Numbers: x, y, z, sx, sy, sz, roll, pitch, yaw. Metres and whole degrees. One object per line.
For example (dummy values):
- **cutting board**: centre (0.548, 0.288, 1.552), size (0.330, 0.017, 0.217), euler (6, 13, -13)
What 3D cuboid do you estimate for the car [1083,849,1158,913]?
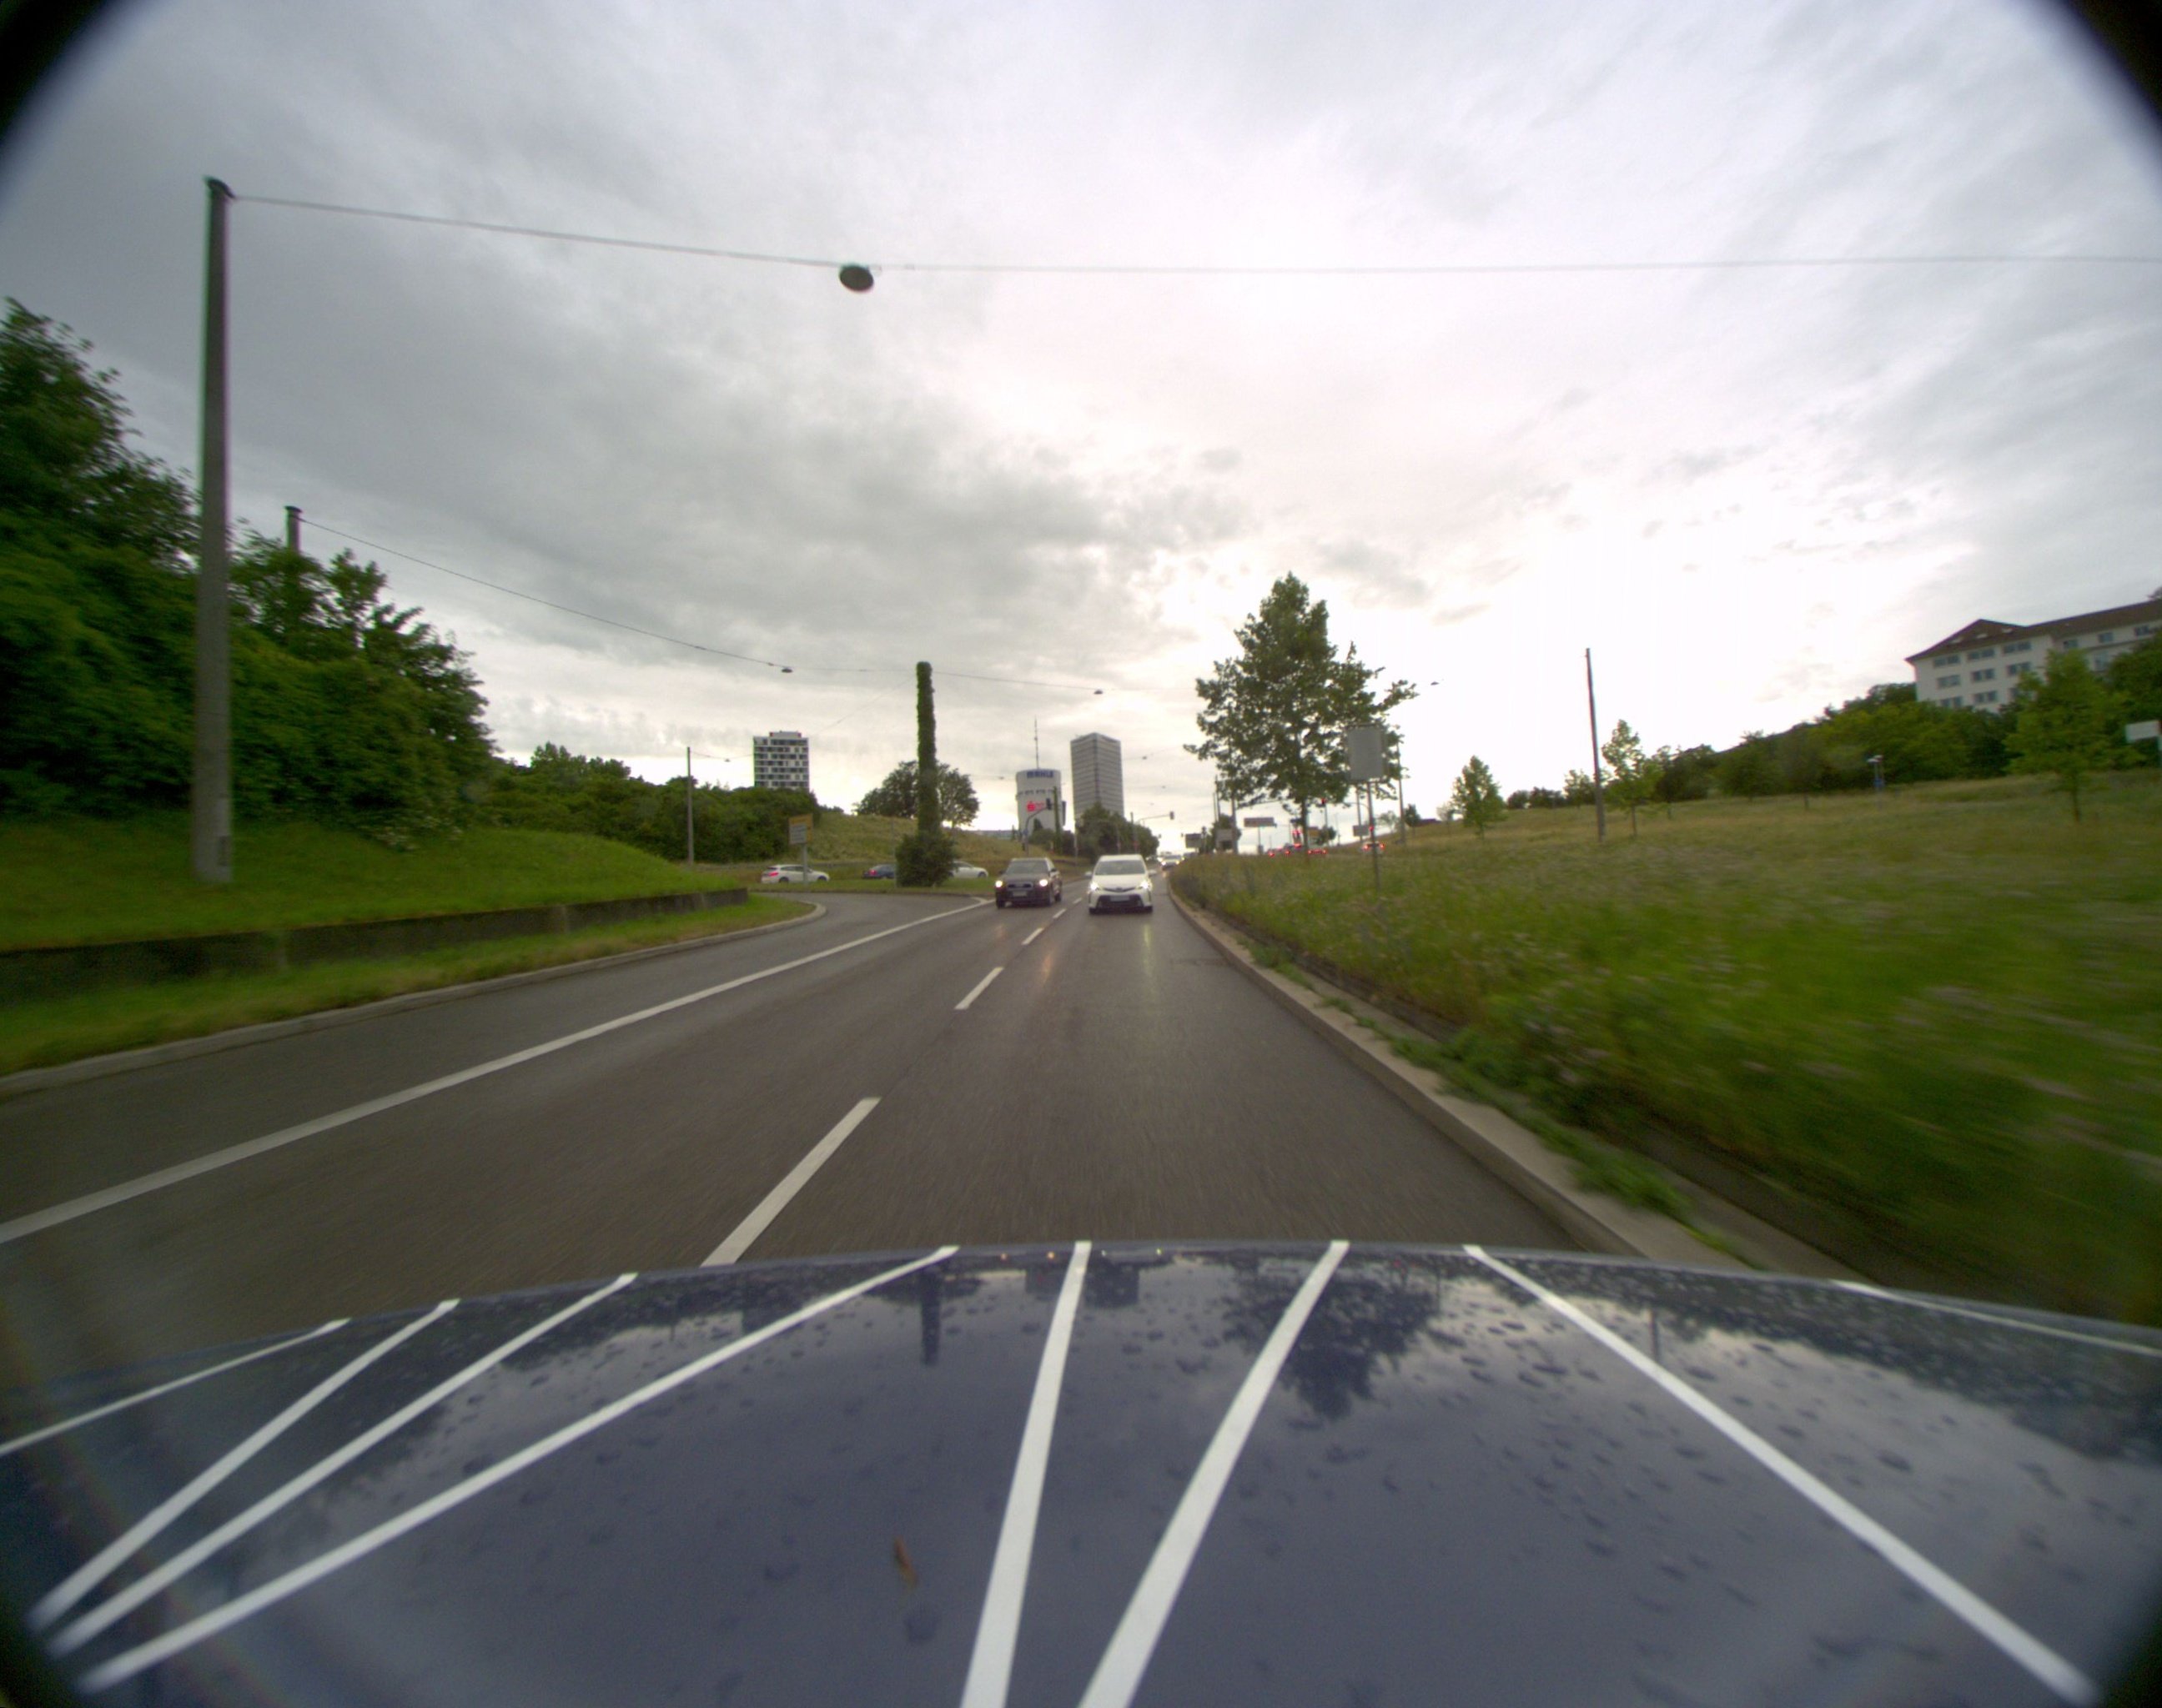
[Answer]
- **car**: centre (1.156, 0.698, 22.027), size (1.924, 1.604, 4.376), euler (-2, 0, 3)

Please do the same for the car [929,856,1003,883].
- **car**: centre (-8.364, 1.103, 55.435), size (4.999, 1.636, 2.070), euler (-3, 0, -44)

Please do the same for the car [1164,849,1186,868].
- **car**: centre (8.887, 0.446, 71.882), size (1.997, 1.761, 4.003), euler (0, -1, 8)

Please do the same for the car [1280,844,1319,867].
- **car**: centre (16.494, 0.096, 57.605), size (1.998, 1.503, 4.439), euler (-4, 0, 6)

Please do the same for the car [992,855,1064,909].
- **car**: centre (-1.715, 0.890, 25.974), size (1.927, 1.591, 4.280), euler (-2, 0, 2)

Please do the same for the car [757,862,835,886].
- **car**: centre (-18.576, 1.283, 49.673), size (2.070, 1.419, 4.281), euler (-3, -2, 40)

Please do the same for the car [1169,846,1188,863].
- **car**: centre (10.908, 0.044, 84.542), size (1.997, 1.761, 4.002), euler (-1, 0, 9)

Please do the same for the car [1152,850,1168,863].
- **car**: centre (10.643, 0.335, 101.982), size (1.781, 1.591, 4.123), euler (-3, 0, 11)

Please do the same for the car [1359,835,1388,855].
- **car**: centre (27.531, -0.852, 71.646), size (1.996, 1.634, 4.803), euler (-4, 0, 16)

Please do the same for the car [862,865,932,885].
- **car**: centre (-13.283, 1.491, 54.975), size (4.563, 1.342, 1.839), euler (0, -2, -43)

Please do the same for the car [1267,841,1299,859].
- **car**: centre (17.169, -0.335, 64.746), size (1.965, 1.414, 4.439), euler (-4, 0, 6)
